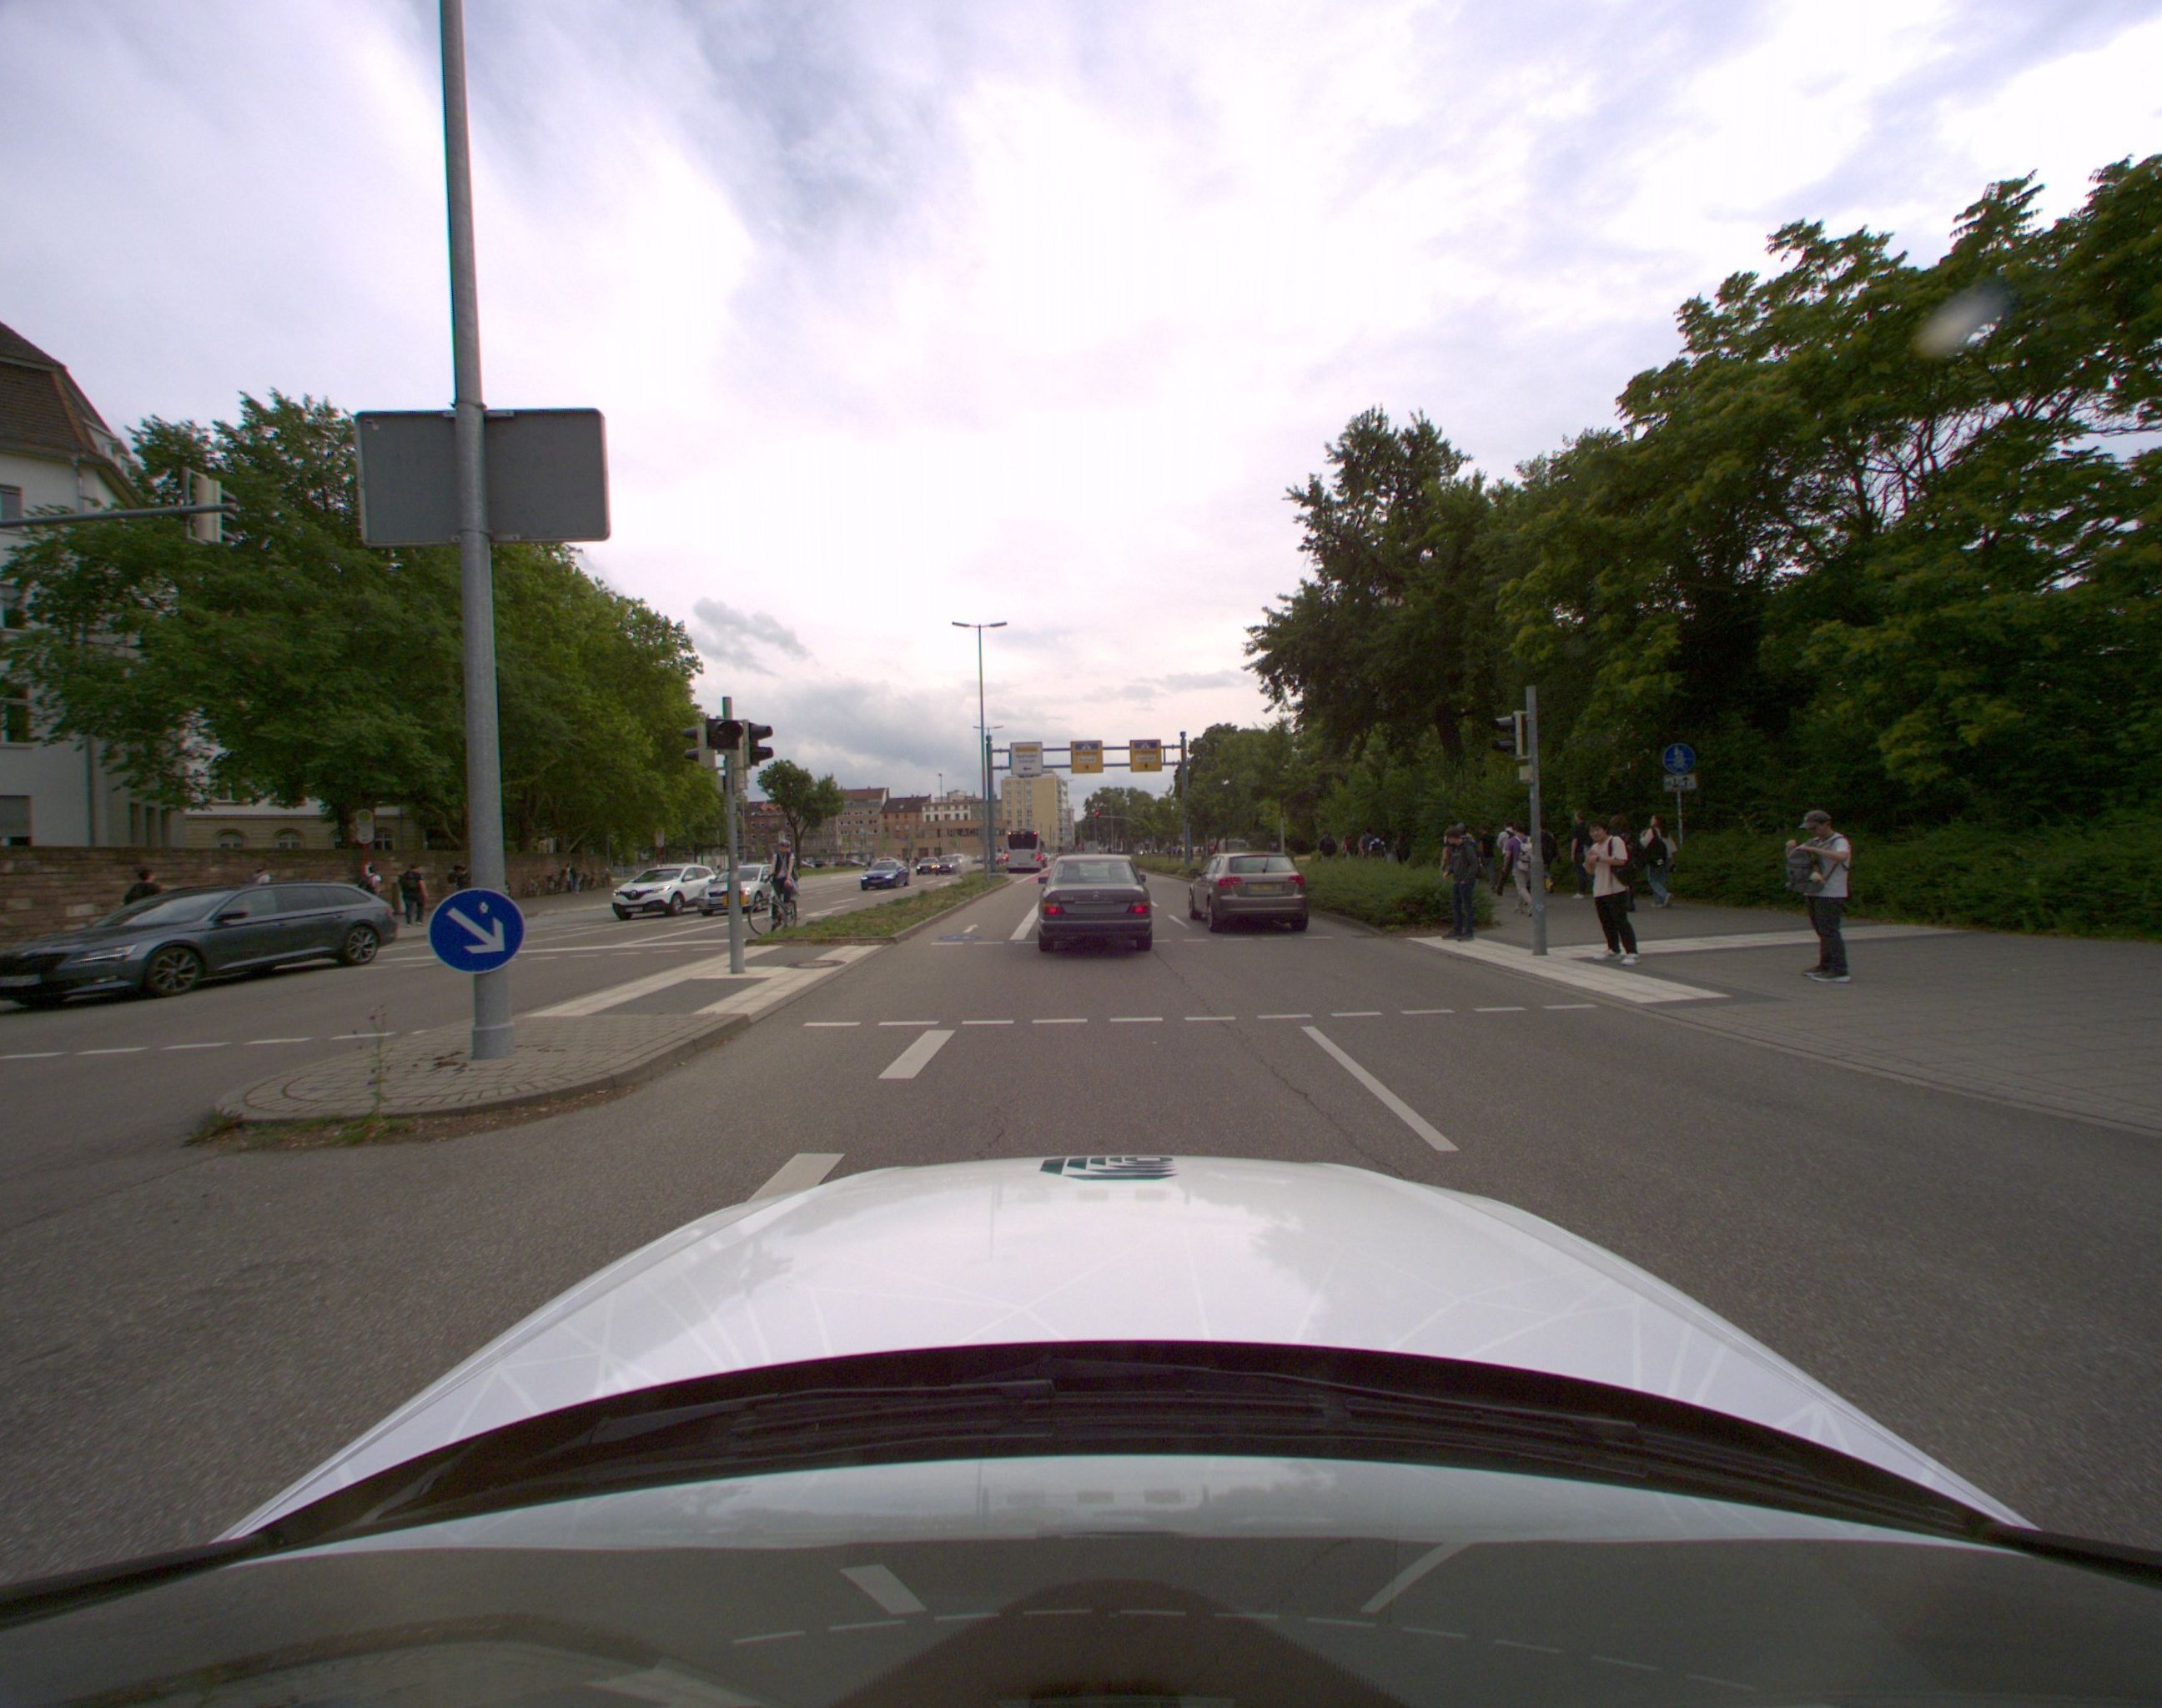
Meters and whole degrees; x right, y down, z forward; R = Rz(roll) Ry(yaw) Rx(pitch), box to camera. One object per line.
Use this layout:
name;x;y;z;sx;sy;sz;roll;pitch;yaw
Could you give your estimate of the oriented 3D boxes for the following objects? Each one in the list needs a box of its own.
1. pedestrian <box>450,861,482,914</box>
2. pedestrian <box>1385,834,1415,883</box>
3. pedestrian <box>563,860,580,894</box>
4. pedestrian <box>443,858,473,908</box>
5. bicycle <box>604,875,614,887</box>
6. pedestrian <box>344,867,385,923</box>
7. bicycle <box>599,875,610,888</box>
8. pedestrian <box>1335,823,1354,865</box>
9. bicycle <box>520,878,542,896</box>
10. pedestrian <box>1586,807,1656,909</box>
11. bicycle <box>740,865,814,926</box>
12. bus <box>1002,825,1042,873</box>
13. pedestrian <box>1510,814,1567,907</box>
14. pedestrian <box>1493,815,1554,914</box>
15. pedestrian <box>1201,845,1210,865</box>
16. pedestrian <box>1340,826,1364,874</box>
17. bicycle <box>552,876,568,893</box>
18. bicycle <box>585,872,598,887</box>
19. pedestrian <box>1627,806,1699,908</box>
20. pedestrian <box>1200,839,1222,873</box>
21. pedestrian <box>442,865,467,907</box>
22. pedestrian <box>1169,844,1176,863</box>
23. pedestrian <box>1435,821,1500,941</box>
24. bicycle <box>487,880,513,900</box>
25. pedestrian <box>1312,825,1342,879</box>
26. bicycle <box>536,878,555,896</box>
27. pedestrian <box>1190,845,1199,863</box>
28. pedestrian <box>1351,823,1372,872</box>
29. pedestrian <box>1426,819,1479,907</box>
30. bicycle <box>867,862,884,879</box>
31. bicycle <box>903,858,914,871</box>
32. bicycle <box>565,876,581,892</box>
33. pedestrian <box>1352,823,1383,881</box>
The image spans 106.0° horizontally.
pedestrian;-21.237;1.154;28.139;0.763;1.782;0.915;-1;-2;-30
pedestrian;10.604;0.142;27.094;0.633;1.583;0.785;-2;0;-1
pedestrian;-25.505;1.158;40.745;0.561;1.668;0.623;-1;-2;-18
pedestrian;-22.643;1.046;29.609;0.763;1.782;0.776;-1;-2;-30
bicycle;-34.494;1.965;59.473;0.483;0.907;1.607;1;-1;-25
pedestrian;-21.918;1.245;24.937;0.763;1.671;0.915;-1;-2;-30
bicycle;-33.721;1.947;57.636;0.483;0.907;1.607;1;-1;-25
pedestrian;10.327;-0.382;31.881;0.466;1.633;0.653;-2;0;-1
bicycle;-26.671;1.588;39.532;0.442;0.827;1.611;1;-1;-18
pedestrian;9.620;0.060;14.525;0.655;1.745;0.779;-2;0;-3
bicycle;-5.784;0.763;15.631;0.571;1.055;1.928;-2;0;3
bus;-4.523;-0.390;63.925;2.824;3.390;8.175;-2;0;-2
pedestrian;8.933;0.125;15.920;0.580;1.745;0.789;-2;0;-3
pedestrian;8.095;0.185;14.920;0.623;1.745;0.779;-2;0;-3
pedestrian;10.849;0.099;71.180;0.642;1.713;0.564;-2;0;14
pedestrian;9.583;-0.154;28.797;0.554;1.655;0.753;-2;0;-1
bicycle;-28.016;1.612;43.817;0.347;0.878;1.513;1;-1;-18
bicycle;-30.697;1.569;51.067;0.483;0.907;1.608;-2;0;-24
pedestrian;10.376;0.049;14.531;0.655;1.745;0.779;-2;0;-3
pedestrian;7.308;0.094;45.602;0.925;1.830;0.892;-2;0;26
pedestrian;-24.259;1.232;31.553;0.589;1.592;0.730;-1;-2;-24
pedestrian;10.145;-0.047;90.160;0.612;2.013;0.597;-2;0;-2
pedestrian;5.806;0.391;12.259;0.600;1.735;0.654;-2;0;-3
bicycle;-25.549;1.558;35.811;0.442;0.827;1.611;1;-1;-18
pedestrian;8.559;-0.073;28.389;0.691;1.821;0.954;-2;0;-1
bicycle;-27.421;1.690;41.719;0.417;0.878;1.546;1;-1;-18
pedestrian;11.380;-0.020;81.774;0.796;1.713;0.767;-2;0;12
pedestrian;10.285;-0.238;29.894;0.483;1.763;0.664;-2;0;-1
pedestrian;7.662;0.181;16.827;0.655;1.745;0.779;-2;0;-3
bicycle;-15.685;1.268;62.208;0.616;1.217;2.047;-2;0;4
bicycle;-15.825;0.956;74.738;0.579;1.170;1.965;-2;0;1
bicycle;-28.836;1.700;46.234;0.442;0.878;1.609;1;-1;-22
pedestrian;9.131;-0.064;25.969;0.654;1.821;0.812;-2;0;-1
